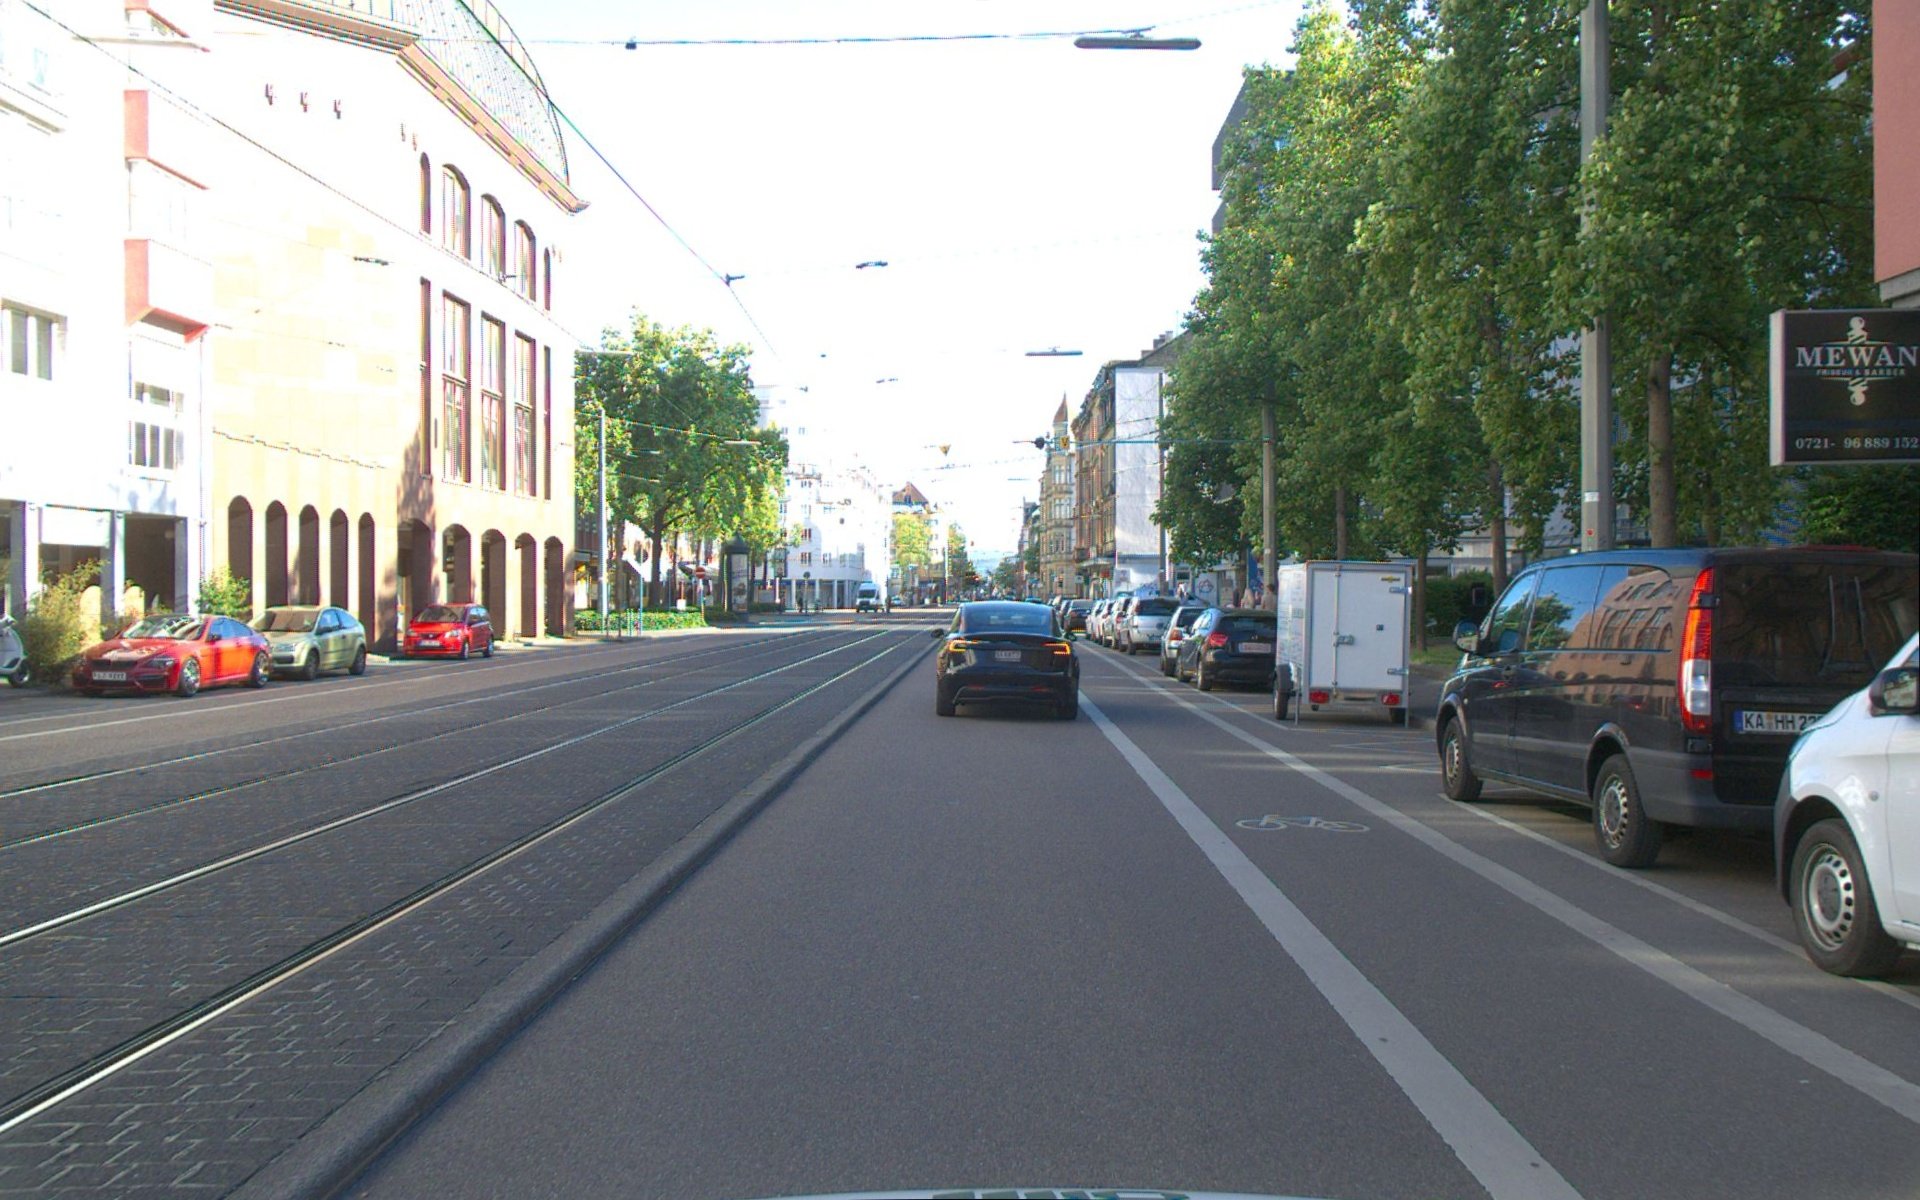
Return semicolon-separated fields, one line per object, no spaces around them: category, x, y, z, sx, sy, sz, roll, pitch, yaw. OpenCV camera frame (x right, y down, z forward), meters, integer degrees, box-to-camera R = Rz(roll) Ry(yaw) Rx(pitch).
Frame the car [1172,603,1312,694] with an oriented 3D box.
car;5.070;0.831;30.284;1.766;1.460;4.323;2;0;0

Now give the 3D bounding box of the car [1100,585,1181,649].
car;5.645;0.498;52.235;1.886;1.866;4.711;1;1;-2

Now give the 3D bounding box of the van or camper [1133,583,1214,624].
van or camper;12.603;0.220;97.913;4.546;2.173;1.988;-3;0;5

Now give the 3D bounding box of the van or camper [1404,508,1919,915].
van or camper;4.739;0.563;11.231;1.930;2.081;5.331;1;0;-1

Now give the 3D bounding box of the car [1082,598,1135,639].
car;5.635;0.688;63.089;1.569;1.468;3.884;2;0;-2

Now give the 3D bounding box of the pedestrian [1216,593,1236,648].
pedestrian;7.098;0.545;44.144;0.446;1.422;0.423;-3;2;6

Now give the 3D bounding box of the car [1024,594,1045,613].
car;5.677;0.246;126.791;1.560;1.458;3.687;-1;0;2

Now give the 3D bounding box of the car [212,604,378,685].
car;-13.708;0.867;34.354;1.634;1.494;4.291;1;1;1

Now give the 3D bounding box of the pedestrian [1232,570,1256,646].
pedestrian;7.562;0.217;44.083;0.455;1.988;0.748;-4;0;6

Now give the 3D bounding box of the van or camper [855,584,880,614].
van or camper;-8.755;-0.108;156.211;2.096;2.700;6.878;-1;0;-1

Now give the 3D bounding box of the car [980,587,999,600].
car;3.573;-0.767;201.040;1.954;1.552;3.998;0;0;-3

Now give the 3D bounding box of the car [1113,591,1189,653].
car;5.429;0.586;47.391;1.678;1.618;4.065;1;1;0

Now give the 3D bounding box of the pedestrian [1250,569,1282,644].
pedestrian;8.137;0.159;43.939;0.654;1.930;0.748;-4;0;6

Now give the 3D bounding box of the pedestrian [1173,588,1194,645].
pedestrian;7.379;0.536;54.613;0.598;1.839;0.603;-1;0;5

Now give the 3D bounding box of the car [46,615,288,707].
car;-13.769;1.009;29.095;1.920;1.348;4.821;1;1;0

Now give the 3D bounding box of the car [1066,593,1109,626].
car;5.821;0.416;76.133;1.675;1.482;4.551;1;0;1

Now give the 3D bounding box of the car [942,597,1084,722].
car;0.636;0.712;21.696;1.684;1.430;3.710;1;1;0

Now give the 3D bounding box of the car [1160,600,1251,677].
car;5.198;0.774;35.401;1.713;1.468;4.318;1;1;6

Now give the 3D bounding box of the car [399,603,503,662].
car;-13.655;0.839;44.544;1.625;1.446;3.620;1;1;1

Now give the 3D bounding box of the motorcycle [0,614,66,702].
motorcycle;-15.242;0.921;26.664;0.508;1.320;2.082;1;1;0

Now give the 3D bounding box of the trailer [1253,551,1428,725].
trailer;5.137;0.467;22.777;1.626;2.154;3.844;1;0;2

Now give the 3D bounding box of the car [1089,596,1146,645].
car;5.488;0.672;57.960;1.510;1.597;4.443;1;1;-1

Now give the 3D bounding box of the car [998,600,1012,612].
car;6.053;0.816;223.753;1.808;1.620;4.001;-1;1;2

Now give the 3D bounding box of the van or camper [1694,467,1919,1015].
van or camper;4.572;0.547;5.453;1.891;2.072;5.475;1;0;0
